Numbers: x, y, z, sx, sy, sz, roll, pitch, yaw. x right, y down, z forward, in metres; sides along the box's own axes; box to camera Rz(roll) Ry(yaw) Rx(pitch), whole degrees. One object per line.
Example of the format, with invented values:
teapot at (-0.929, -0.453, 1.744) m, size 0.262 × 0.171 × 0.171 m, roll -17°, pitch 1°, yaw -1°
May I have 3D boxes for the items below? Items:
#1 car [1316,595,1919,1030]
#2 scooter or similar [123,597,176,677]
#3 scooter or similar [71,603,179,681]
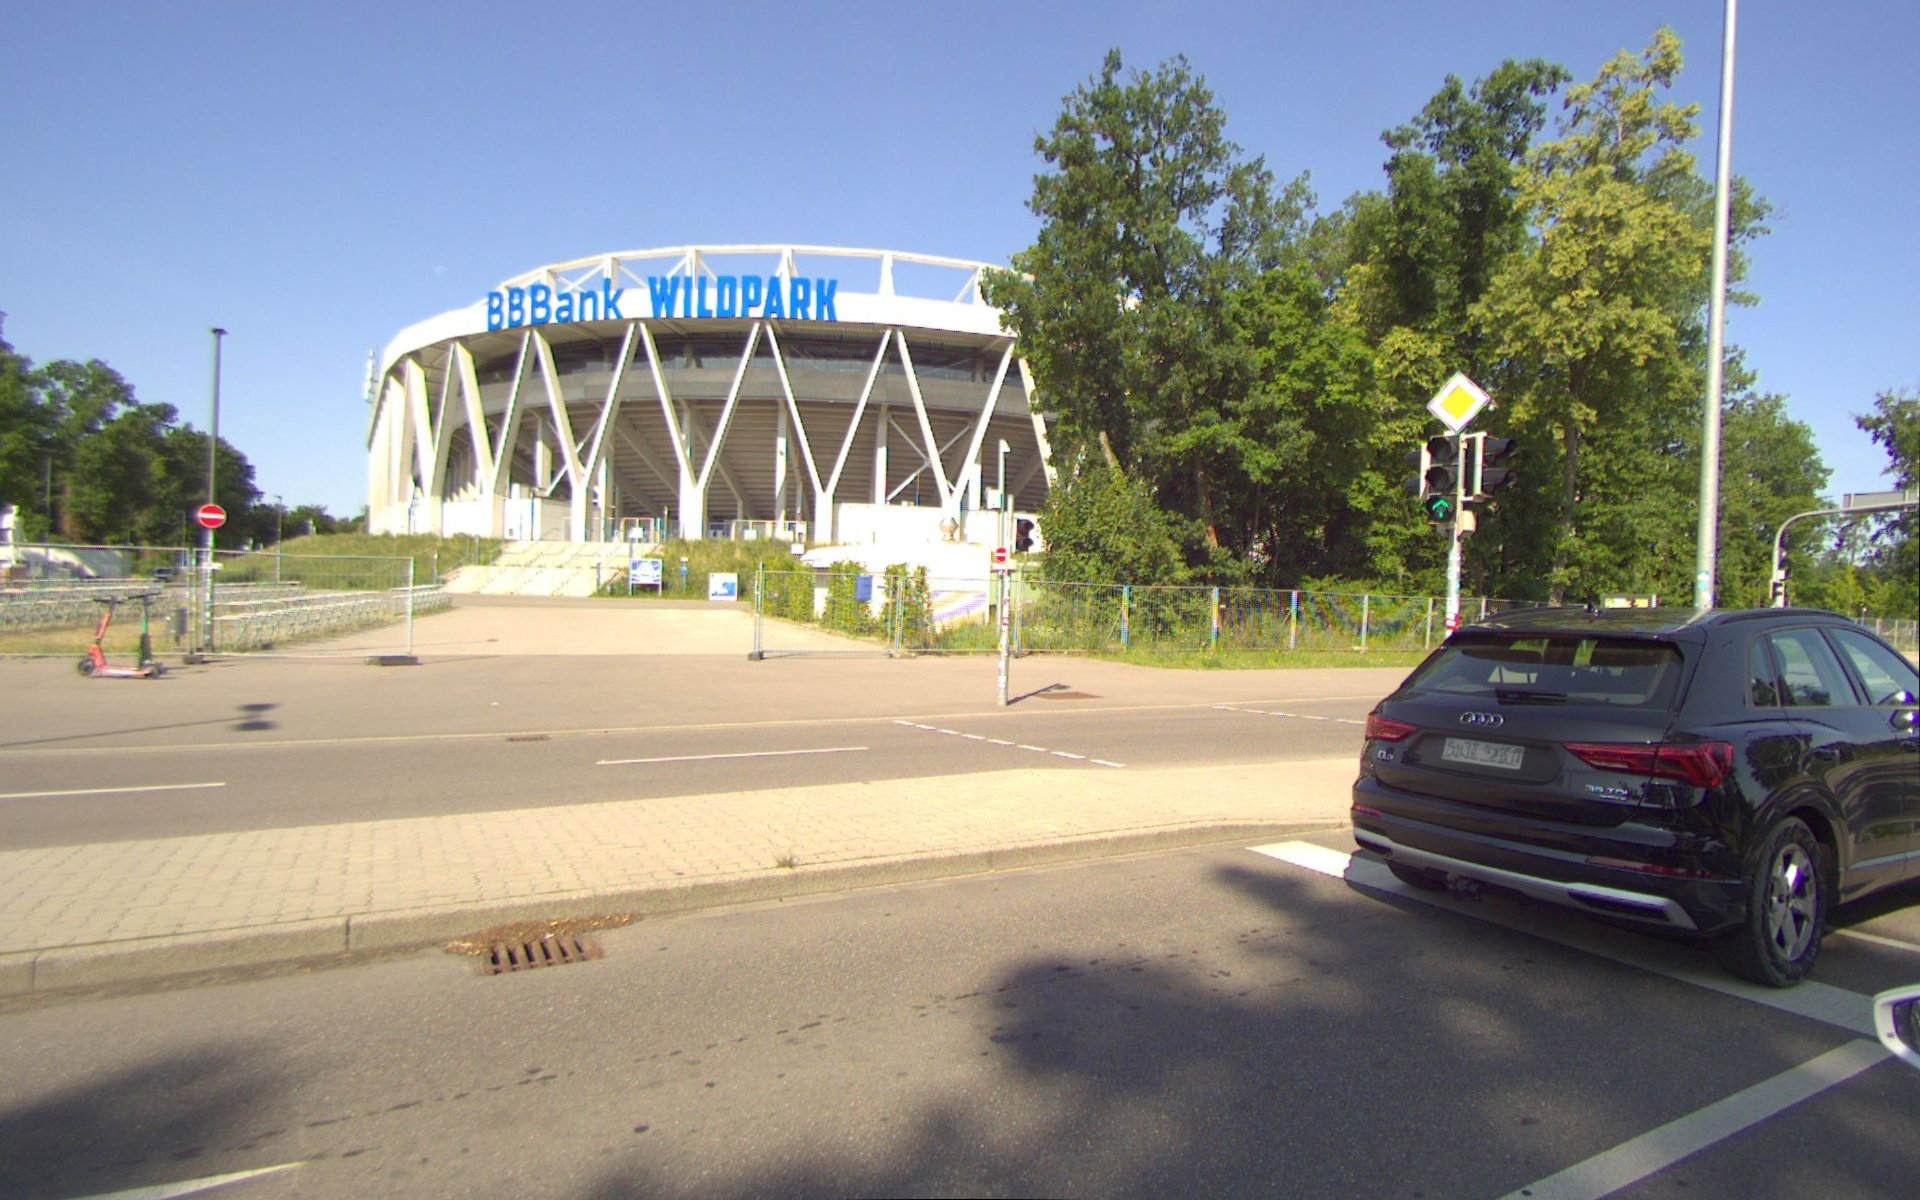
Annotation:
car at (3.988, 0.816, 5.383) m, size 4.100 × 1.565 × 1.680 m, roll 2°, pitch -1°, yaw -30°
scooter or similar at (-13.067, 0.578, 16.185) m, size 1.064 × 1.238 × 0.395 m, roll 2°, pitch 1°, yaw 36°
scooter or similar at (-12.785, 0.640, 15.403) m, size 1.180 × 1.161 × 0.393 m, roll 2°, pitch 0°, yaw -25°
